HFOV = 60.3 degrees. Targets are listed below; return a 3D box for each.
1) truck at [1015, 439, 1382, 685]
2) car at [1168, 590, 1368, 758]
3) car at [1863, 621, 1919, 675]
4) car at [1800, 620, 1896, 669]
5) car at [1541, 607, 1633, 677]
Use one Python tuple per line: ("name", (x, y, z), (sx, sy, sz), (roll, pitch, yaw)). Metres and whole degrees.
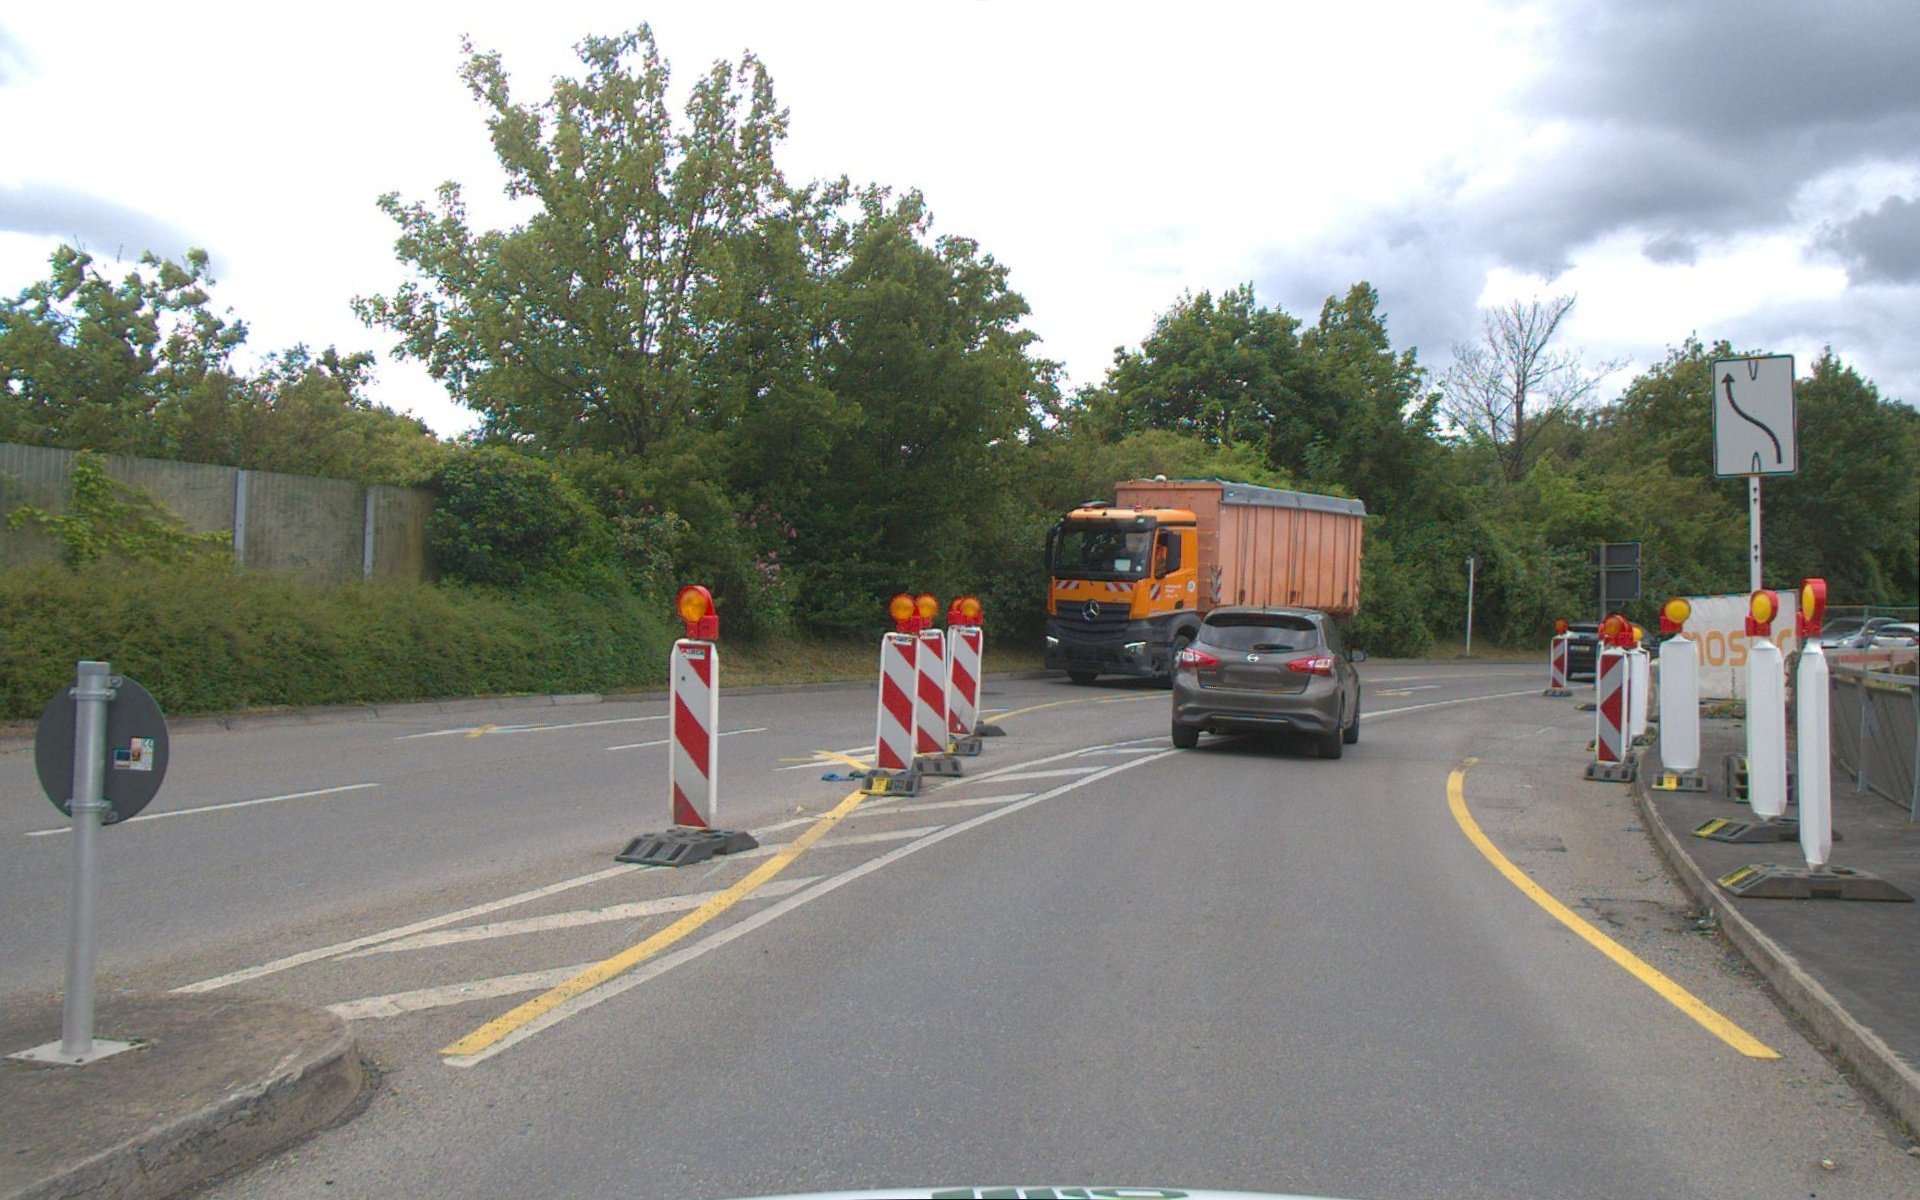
("truck", (5.183, -0.653, 33.670), (3.060, 4.294, 9.751), (1, 0, 37))
("car", (3.516, 0.734, 18.335), (1.760, 1.579, 4.002), (2, 0, 16))
("car", (31.175, 1.555, 53.742), (3.955, 1.704, 1.695), (1, -1, -36))
("car", (31.154, 1.563, 57.976), (4.313, 1.572, 1.613), (2, 0, -42))
("car", (15.922, 1.019, 41.898), (1.784, 1.579, 3.785), (2, 1, 26))
